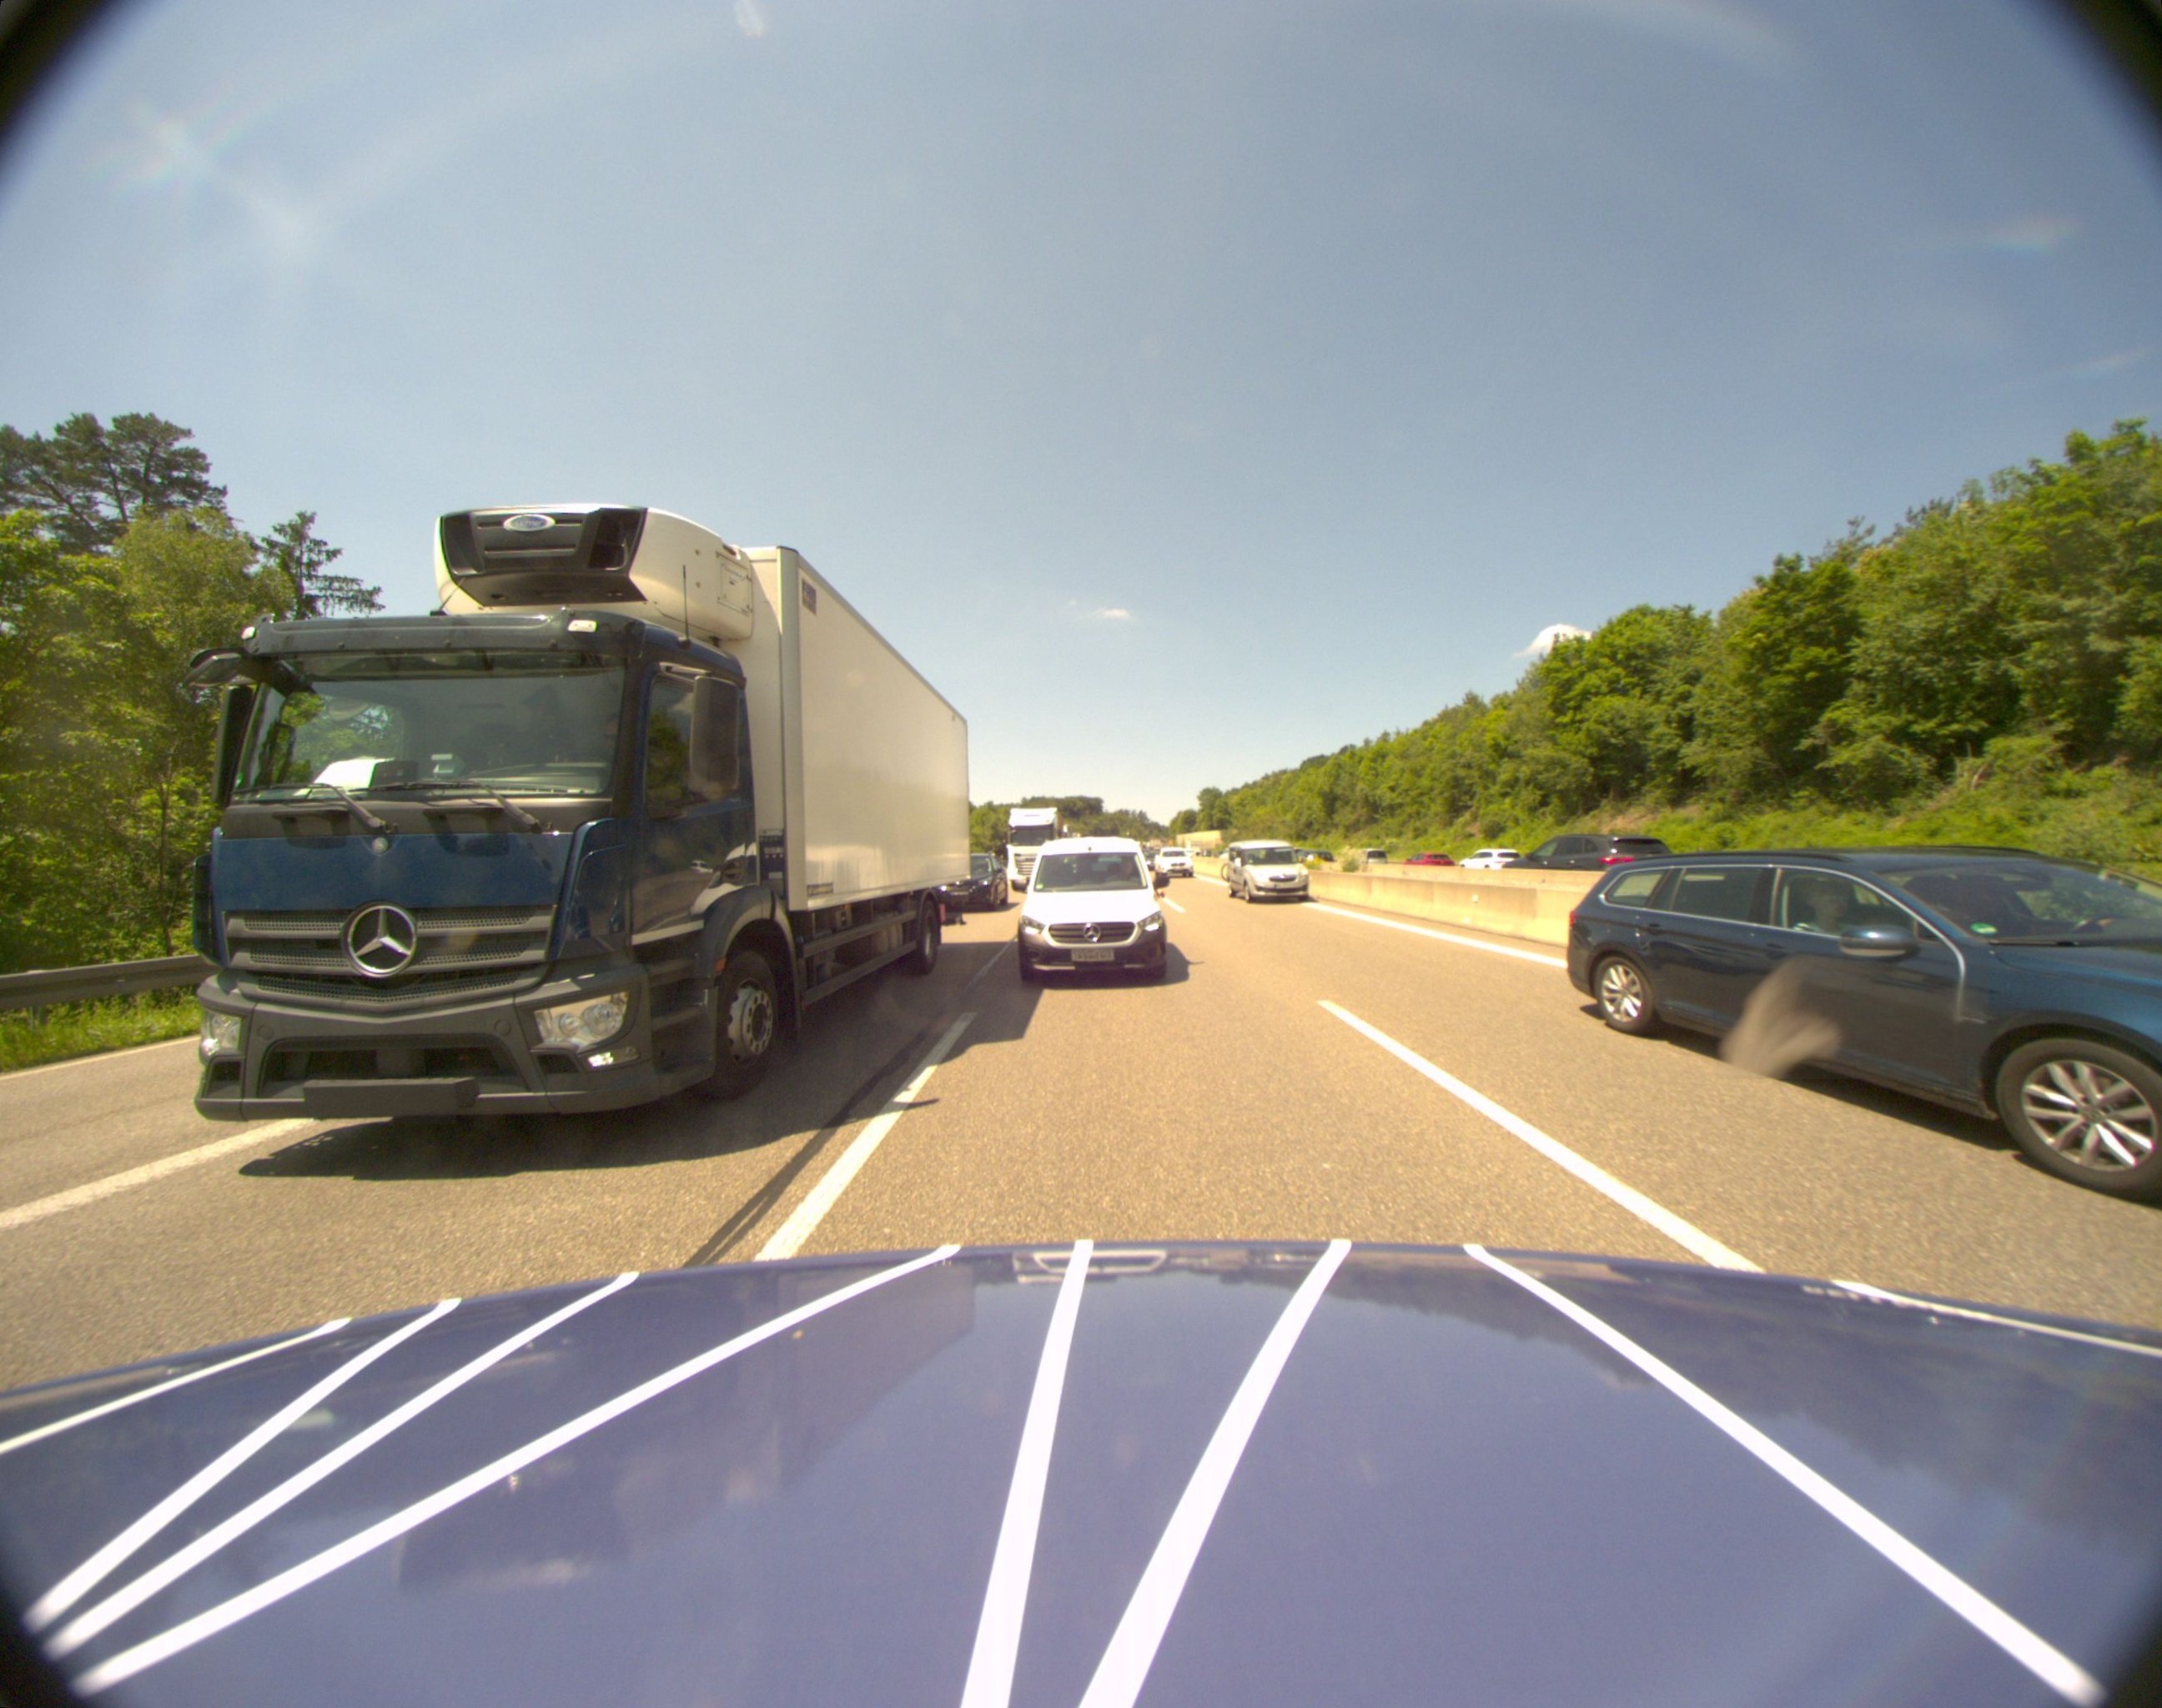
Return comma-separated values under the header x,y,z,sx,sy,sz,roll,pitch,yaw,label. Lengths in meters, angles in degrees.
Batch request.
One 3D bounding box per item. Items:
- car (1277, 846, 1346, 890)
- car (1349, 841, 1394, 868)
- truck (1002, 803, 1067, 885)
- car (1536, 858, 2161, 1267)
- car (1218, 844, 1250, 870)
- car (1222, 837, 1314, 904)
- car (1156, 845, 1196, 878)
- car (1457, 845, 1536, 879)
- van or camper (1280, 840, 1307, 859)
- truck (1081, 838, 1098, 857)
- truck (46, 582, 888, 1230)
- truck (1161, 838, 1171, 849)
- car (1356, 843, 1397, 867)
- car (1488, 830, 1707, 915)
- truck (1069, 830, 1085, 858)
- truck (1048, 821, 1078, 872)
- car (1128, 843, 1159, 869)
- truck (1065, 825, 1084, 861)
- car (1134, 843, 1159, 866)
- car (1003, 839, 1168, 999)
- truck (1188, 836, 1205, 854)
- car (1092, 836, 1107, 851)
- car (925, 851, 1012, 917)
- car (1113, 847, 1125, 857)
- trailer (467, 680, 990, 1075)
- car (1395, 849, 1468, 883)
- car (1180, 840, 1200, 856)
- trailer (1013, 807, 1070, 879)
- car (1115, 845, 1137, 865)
x,y,z,sx,sy,sz,roll,pitch,yaw,label
11.956,0.665,39.823,1.999,2.002,5.153,-2,2,0,car
24.065,-0.010,63.105,1.998,2.002,4.471,-2,2,1,car
-2.440,-0.588,42.224,2.766,4.061,7.333,-2,2,2,truck
4.933,0.775,4.367,1.879,1.441,4.678,-2,0,1,car
12.850,0.218,64.147,1.998,2.002,4.347,-2,2,3,car
5.638,0.405,23.484,1.856,1.762,4.918,-2,2,3,car
5.422,0.366,43.676,1.824,1.696,3.999,-2,2,1,car
23.584,0.415,43.319,1.998,1.682,4.512,-2,2,0,car
24.959,-0.531,89.413,1.998,2.002,4.680,-2,2,2,van or camper
2.054,-1.557,190.844,4.084,4.403,11.396,-2,0,0,truck
-3.319,0.218,5.512,2.562,2.924,4.103,-1,2,2,truck
24.133,-3.042,215.316,2.183,2.868,6.740,-2,2,1,truck
26.847,0.086,69.100,2.128,2.002,4.363,-2,2,2,car
11.678,0.404,17.645,1.998,1.682,4.515,-1,-1,0,car
-0.592,-1.439,117.041,2.187,4.073,10.868,-2,0,0,truck
-1.603,-0.677,71.621,2.394,4.438,10.868,-2,0,0,truck
4.662,0.134,57.218,1.999,1.747,3.999,-2,2,0,car
-0.798,-1.362,99.219,2.187,4.438,10.868,-2,0,0,truck
5.911,0.040,68.775,1.998,2.002,4.000,-2,0,2,car
0.117,0.675,10.532,1.756,1.681,4.363,-2,2,2,car
27.309,-2.110,179.917,2.699,3.967,7.988,-2,2,1,truck
2.673,-1.559,110.879,1.999,2.002,3.998,-2,2,-1,car
-3.249,0.796,22.877,1.999,1.682,4.609,0,2,-1,car
6.654,-0.332,132.583,1.803,1.660,4.000,-2,0,0,car
-3.120,0.143,9.634,2.562,2.882,7.882,-2,1,3,trailer
19.484,0.617,42.496,1.998,1.682,4.512,-2,2,0,car
14.342,-0.848,100.377,1.998,2.002,4.192,-2,2,1,car
-2.315,-0.754,48.656,2.766,4.061,11.614,0,2,1,trailer
4.715,0.048,80.302,1.999,2.002,3.999,-2,0,-1,car
